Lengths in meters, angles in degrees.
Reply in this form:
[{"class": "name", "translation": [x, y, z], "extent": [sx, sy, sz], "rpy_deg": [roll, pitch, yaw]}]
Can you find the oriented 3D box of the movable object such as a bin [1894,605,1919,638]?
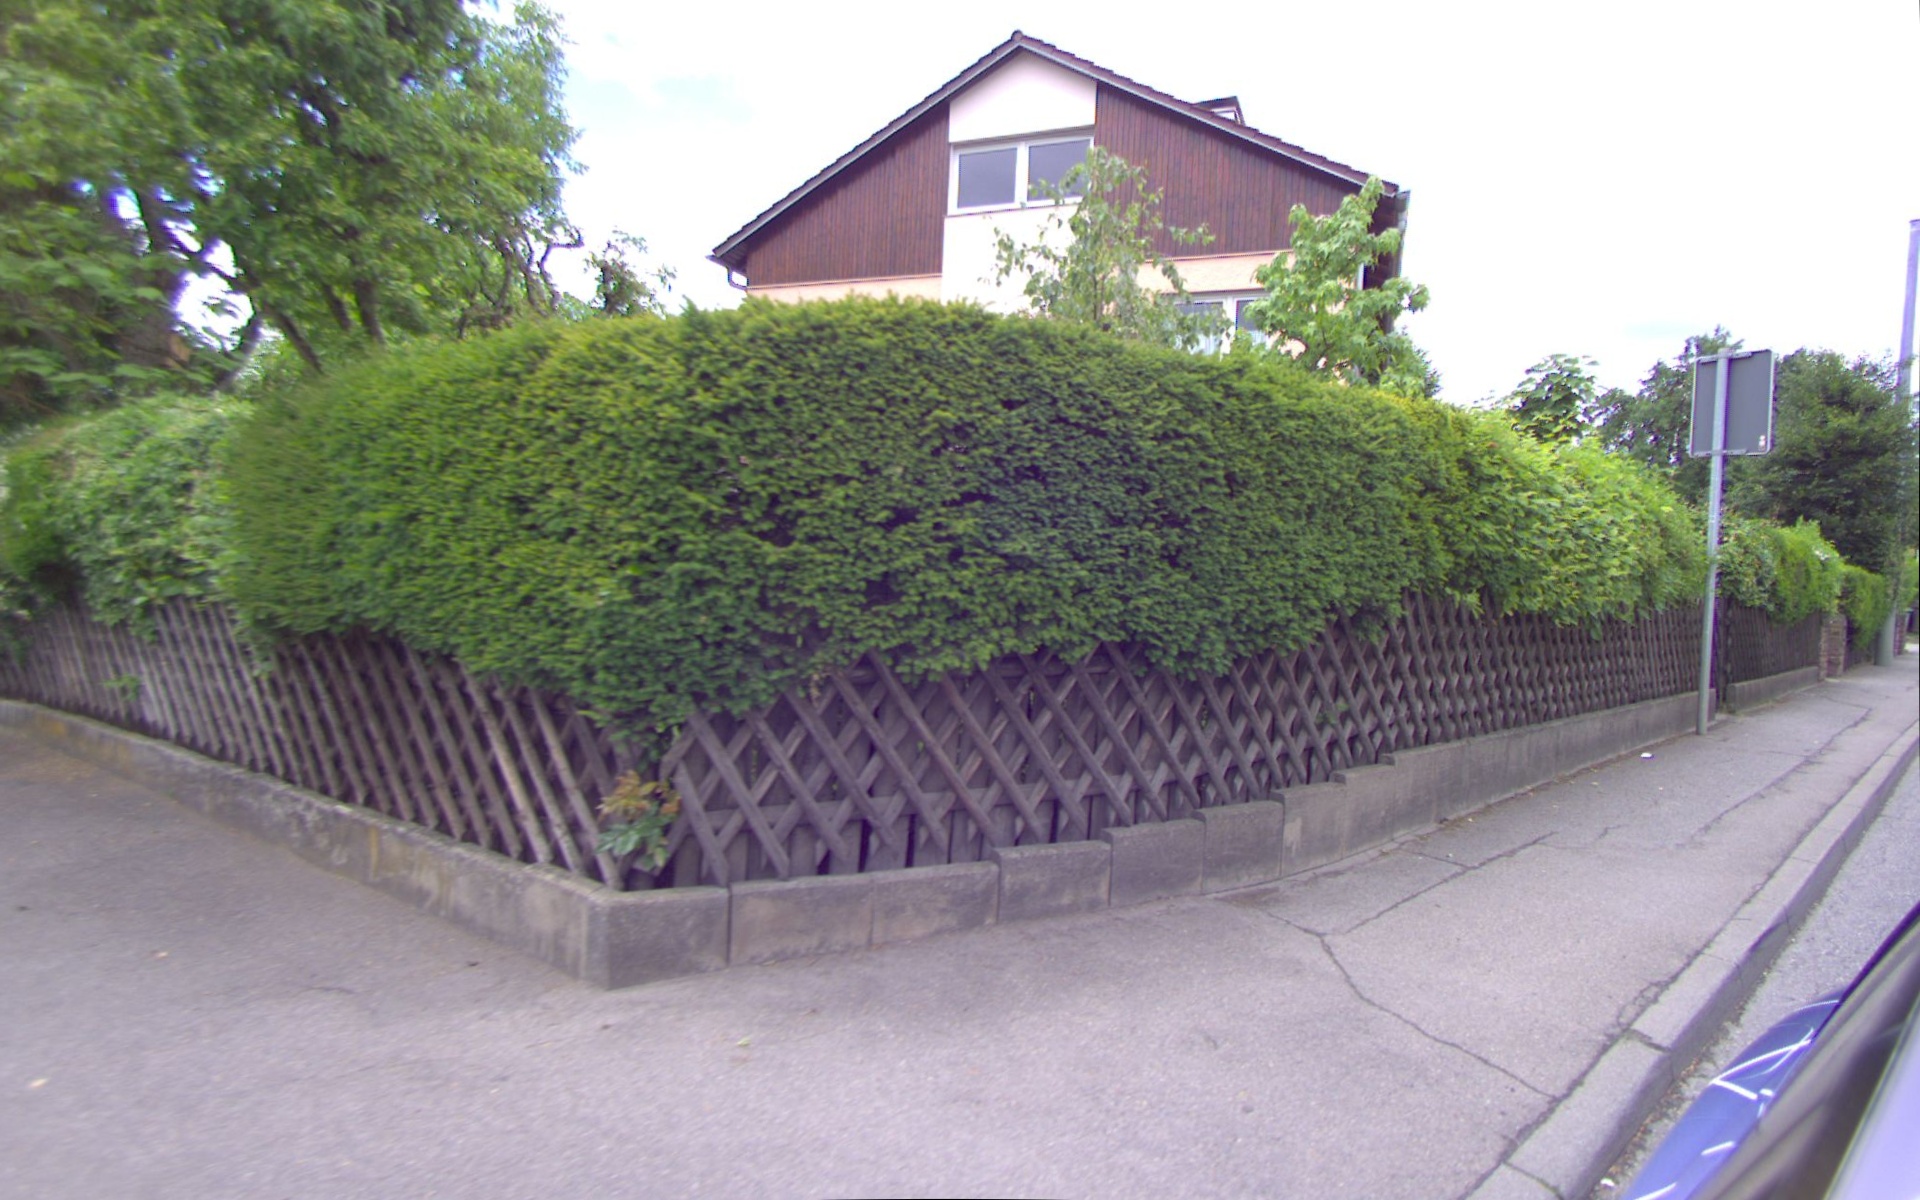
[{"class": "movable object such as a bin", "translation": [29.995, 0.681, 31.956], "extent": [0.444, 0.967, 0.680], "rpy_deg": [7, 4, 27]}]
